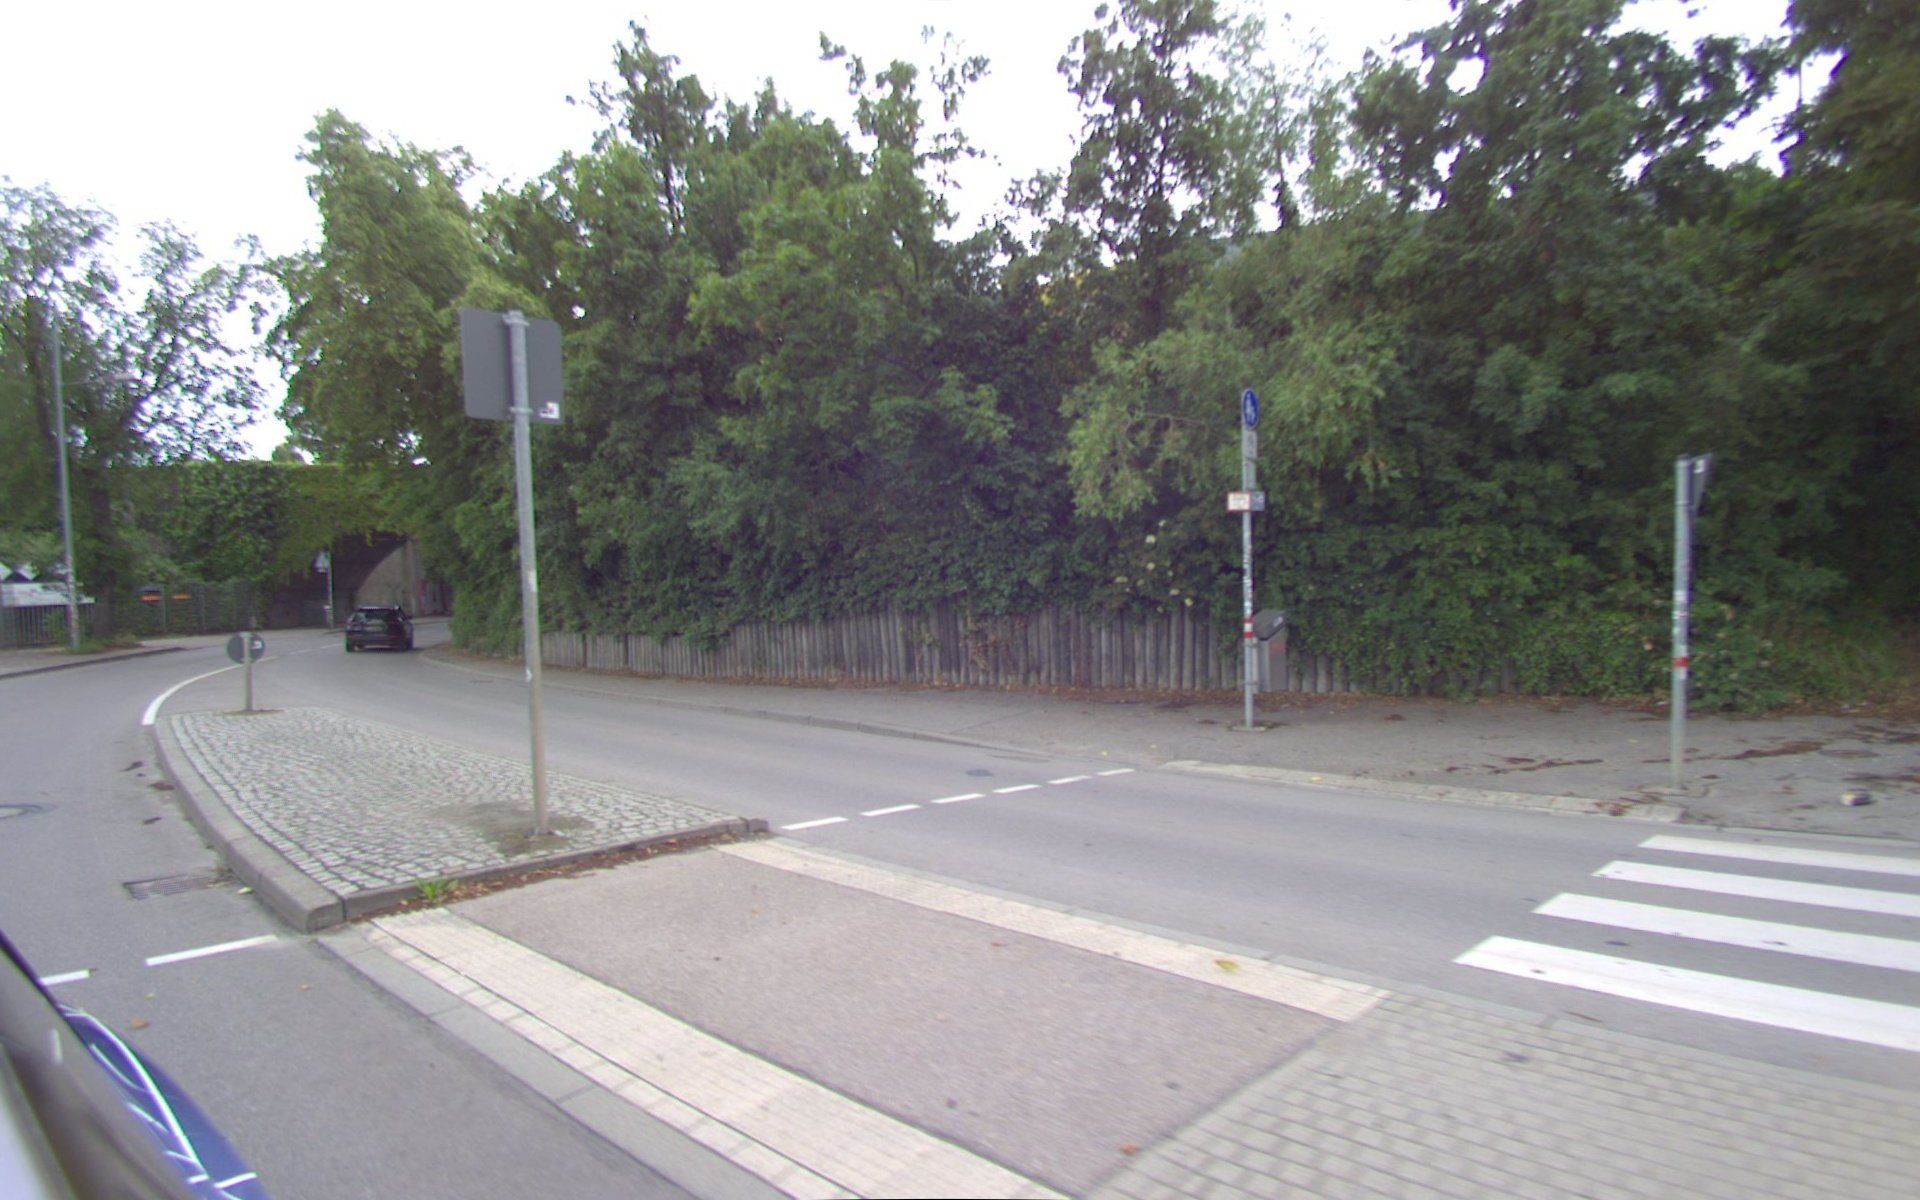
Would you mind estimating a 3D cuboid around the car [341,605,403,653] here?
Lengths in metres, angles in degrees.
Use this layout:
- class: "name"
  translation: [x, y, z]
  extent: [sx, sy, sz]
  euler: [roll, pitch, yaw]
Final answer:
- class: "car"
  translation: [-20.809, 1.014, 35.946]
  extent: [1.777, 1.622, 4.189]
  euler: [1, -1, -29]
